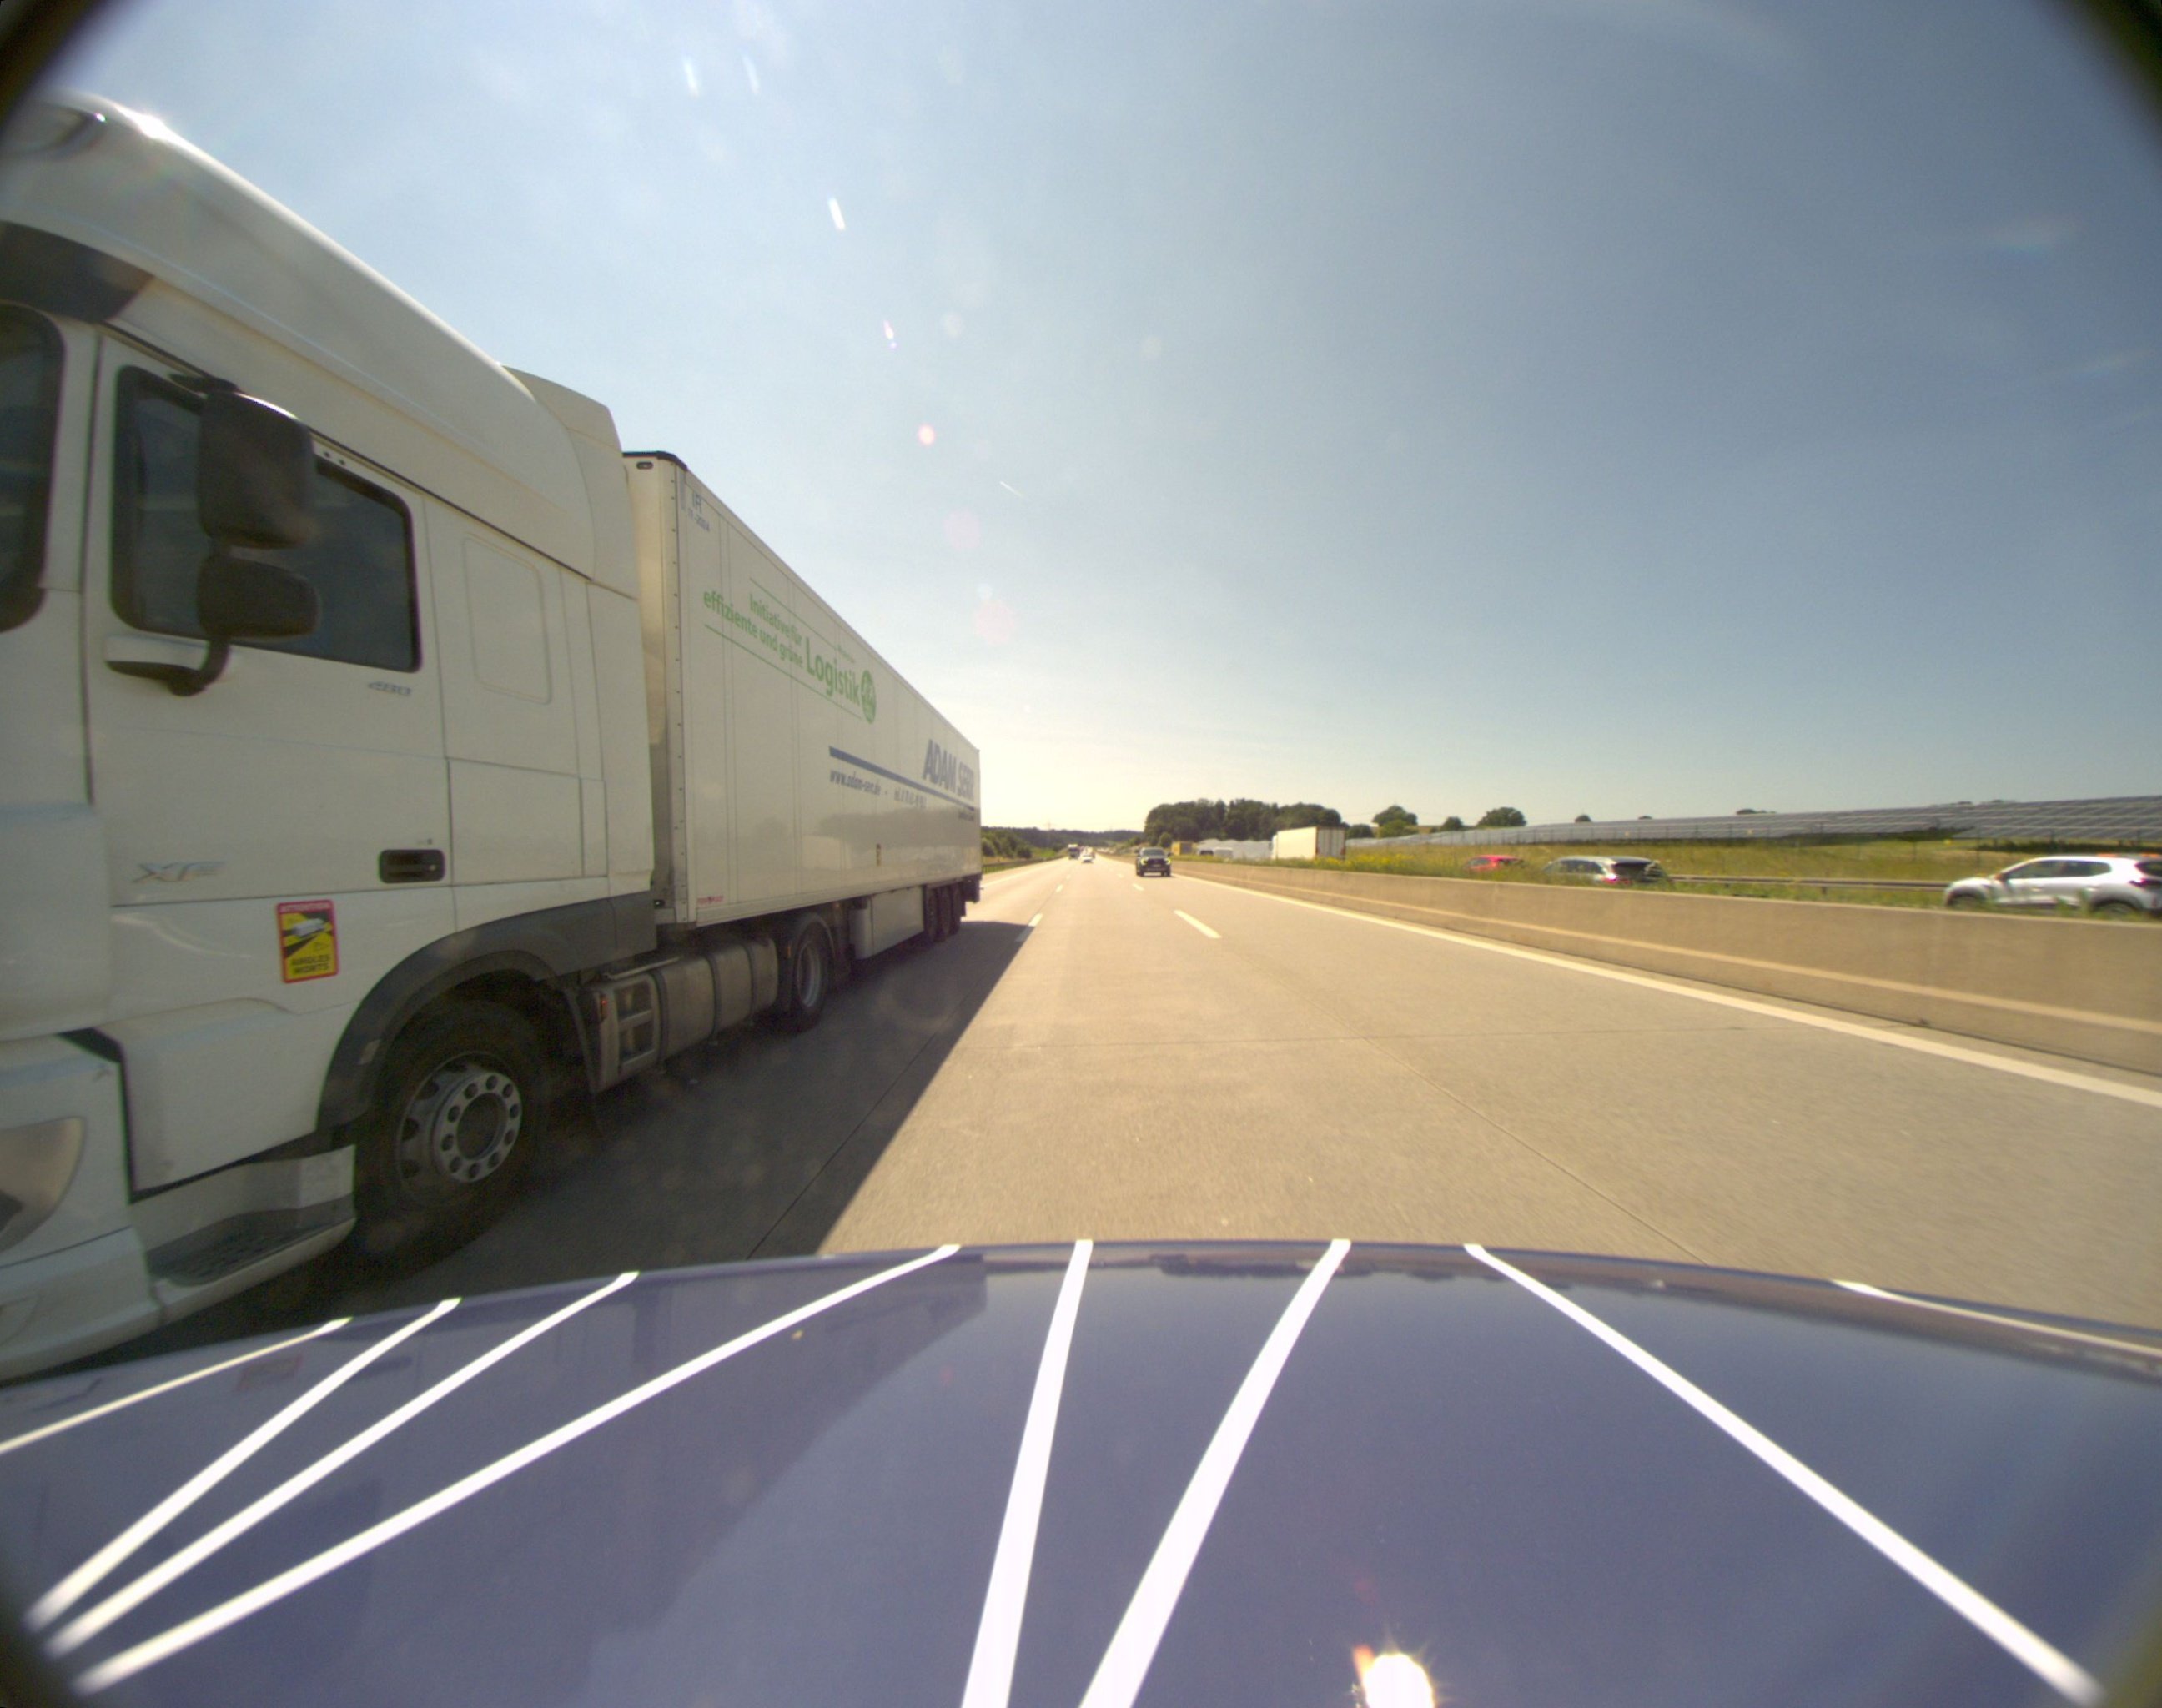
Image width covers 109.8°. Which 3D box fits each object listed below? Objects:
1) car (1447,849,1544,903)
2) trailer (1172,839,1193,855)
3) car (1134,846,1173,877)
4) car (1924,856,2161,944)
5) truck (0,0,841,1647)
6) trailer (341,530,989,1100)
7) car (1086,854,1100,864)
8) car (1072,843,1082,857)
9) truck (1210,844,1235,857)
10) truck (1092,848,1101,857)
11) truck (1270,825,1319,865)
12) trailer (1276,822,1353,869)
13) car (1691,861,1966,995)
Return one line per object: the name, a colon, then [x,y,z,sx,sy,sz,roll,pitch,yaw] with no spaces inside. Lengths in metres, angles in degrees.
car: [16.802,0.820,31.062,1.804,2.002,3.999,-1,1,1]
trailer: [22.822,-1.607,171.217,2.939,3.530,14.018,1,1,1]
car: [4.649,0.407,49.395,1.998,1.836,6.529,-2,1,1]
car: [20.026,0.824,15.339,1.630,1.474,3.999,-1,1,1]
truck: [-3.781,-0.289,4.313,2.819,4.064,5.798,-1,1,1]
trailer: [-3.739,-0.307,11.800,2.860,4.019,12.712,-1,0,1]
car: [1.800,0.785,117.991,2.065,1.472,5.068,-1,0,0]
car: [-1.157,-1.128,215.895,2.766,4.029,10.851,0,1,1]
truck: [22.459,-0.611,120.705,2.523,2.002,7.629,-1,1,1]
truck: [4.294,-0.463,209.555,2.262,2.461,6.614,-1,0,1]
truck: [22.082,-0.943,79.044,3.098,3.981,7.253,-1,1,1]
trailer: [22.019,-0.863,72.833,3.098,3.981,14.138,-1,1,1]
car: [13.125,1.187,13.652,1.628,2.002,3.389,-1,1,1]
